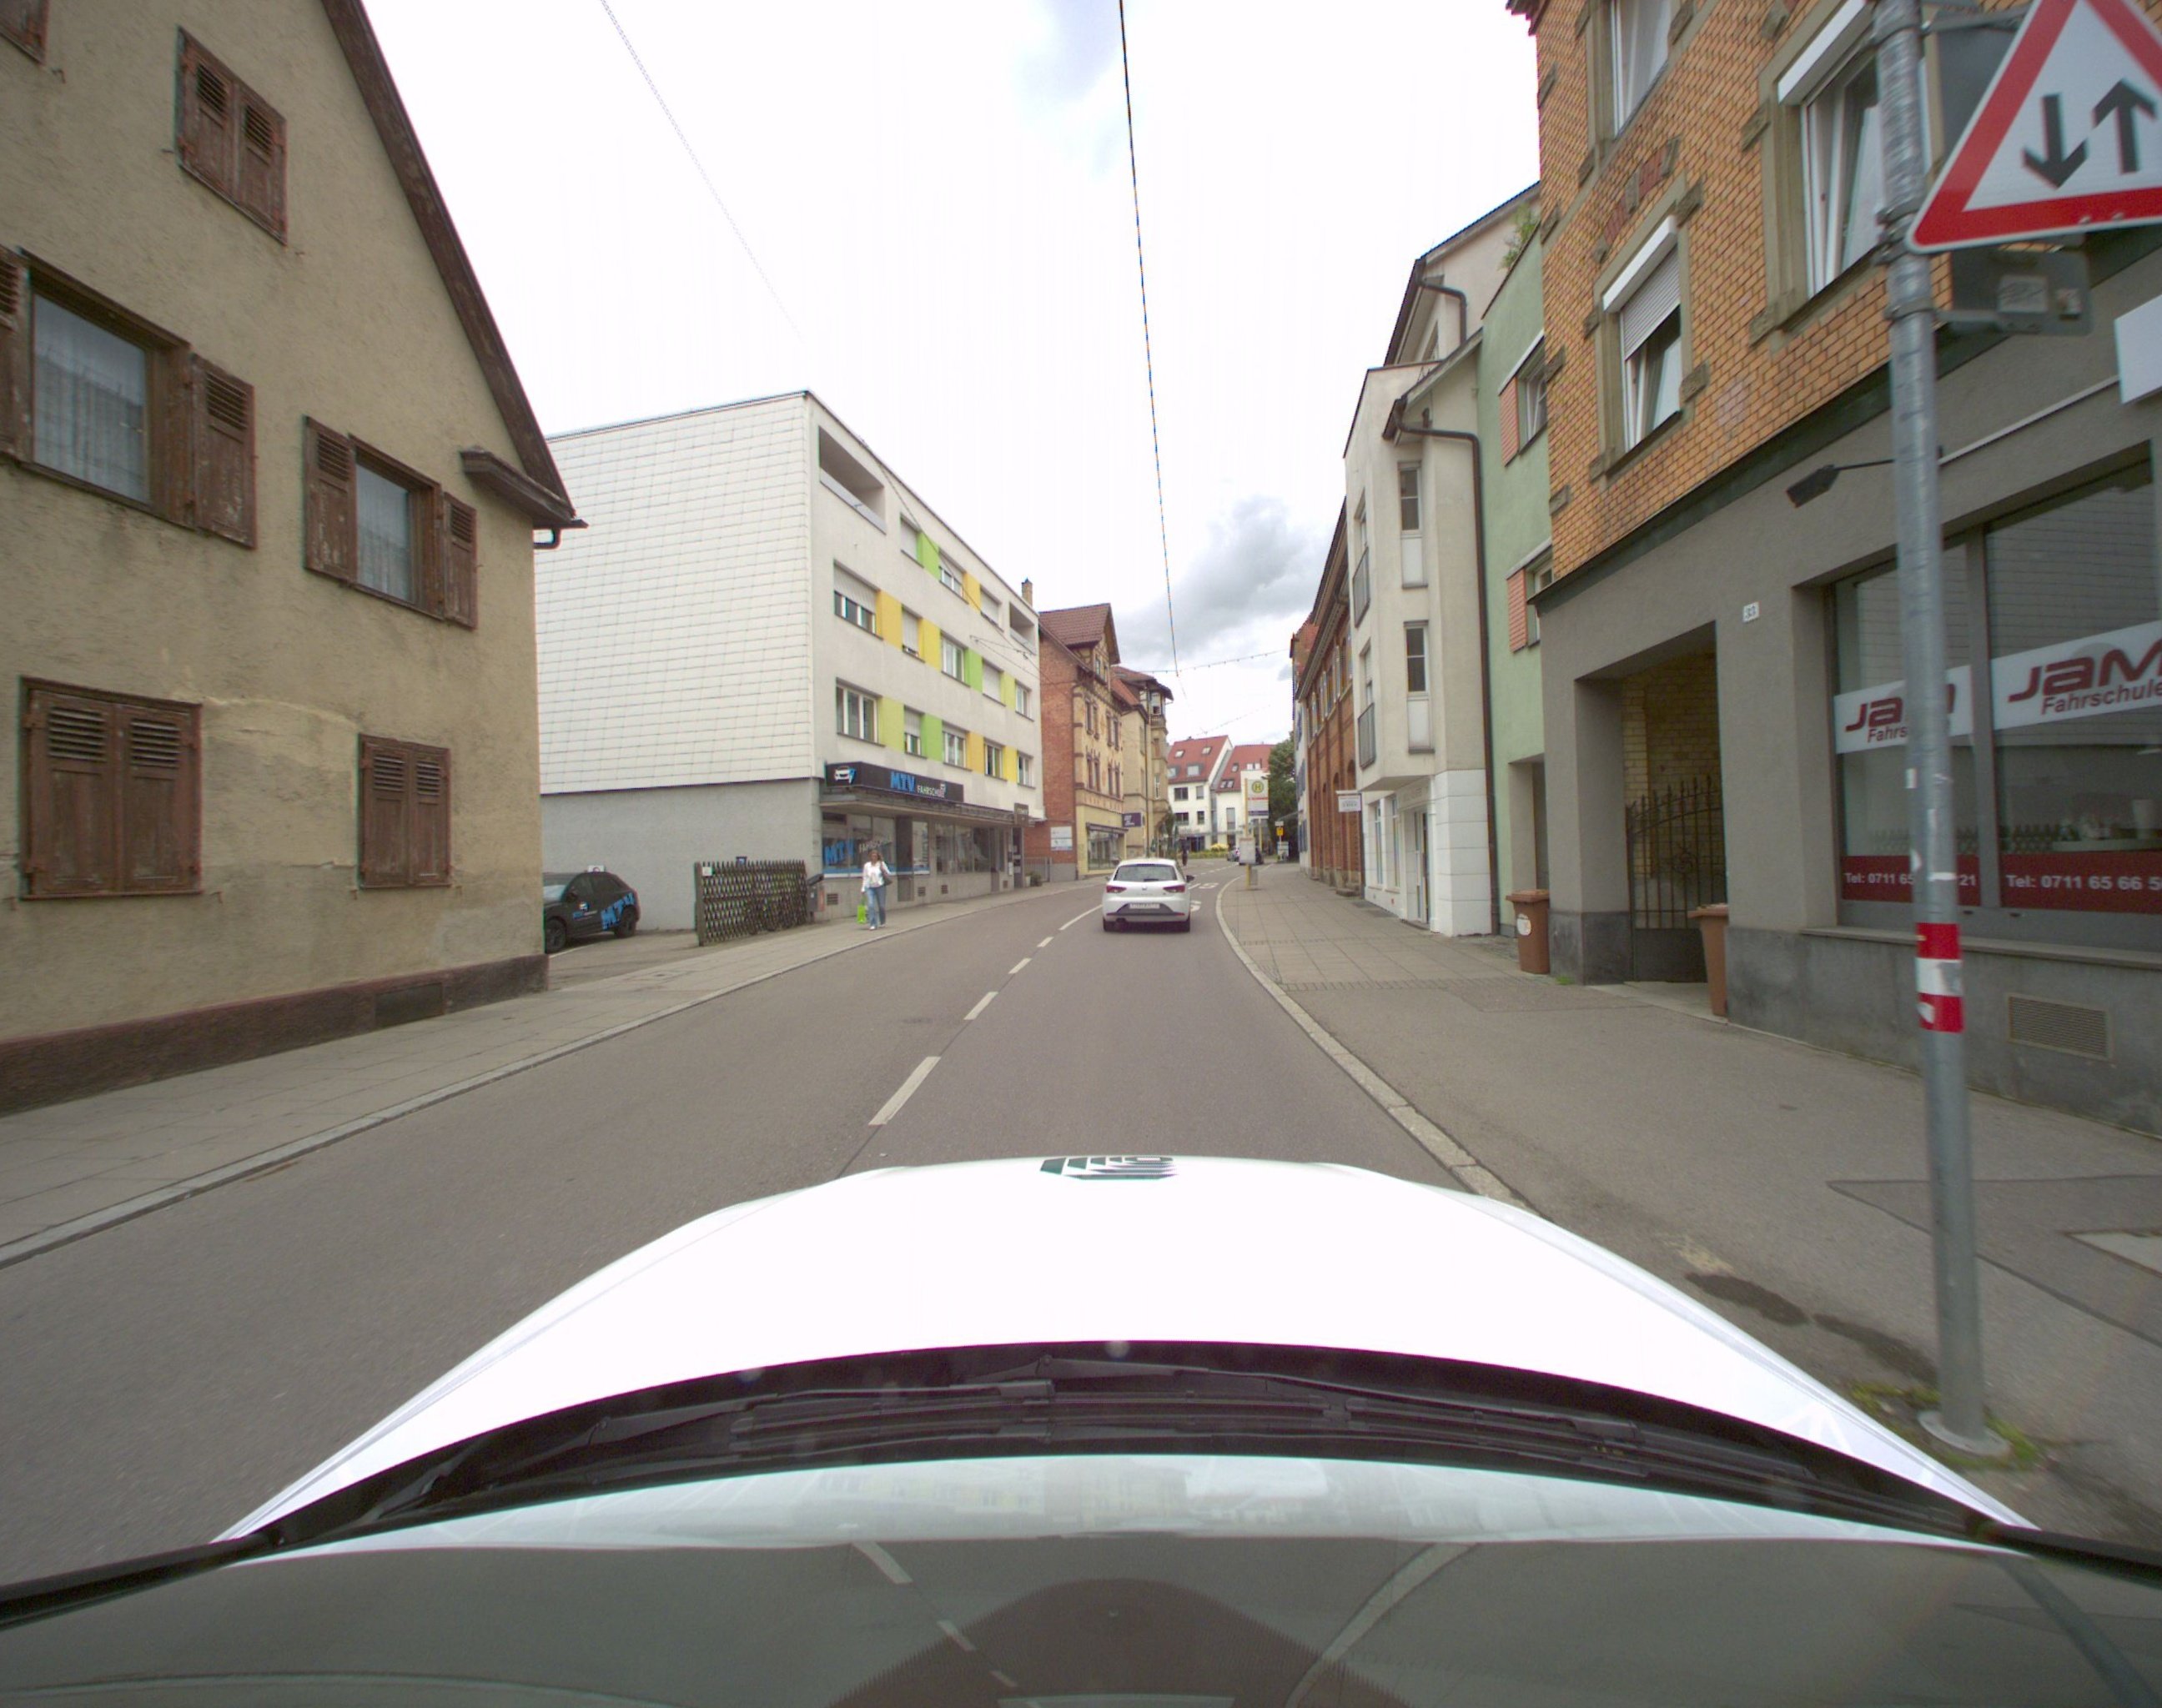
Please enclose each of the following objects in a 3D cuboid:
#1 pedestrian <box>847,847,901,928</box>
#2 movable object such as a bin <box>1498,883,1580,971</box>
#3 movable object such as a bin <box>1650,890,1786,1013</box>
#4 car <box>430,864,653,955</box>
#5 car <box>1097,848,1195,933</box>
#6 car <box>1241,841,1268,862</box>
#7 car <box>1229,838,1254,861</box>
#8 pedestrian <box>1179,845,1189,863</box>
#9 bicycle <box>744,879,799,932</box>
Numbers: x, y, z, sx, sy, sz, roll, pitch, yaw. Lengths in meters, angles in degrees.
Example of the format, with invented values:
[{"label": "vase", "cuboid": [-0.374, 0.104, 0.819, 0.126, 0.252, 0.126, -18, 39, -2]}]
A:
[{"label": "pedestrian", "cuboid": [-4.453, 0.698, 17.584, 0.890, 1.665, 0.861, -2, 0, -1]}, {"label": "movable object such as a bin", "cuboid": [5.166, 0.811, 9.213, 0.616, 0.921, 0.582, -2, 0, 6]}, {"label": "movable object such as a bin", "cuboid": [5.355, 0.799, 6.887, 0.577, 0.933, 0.740, -2, 0, 5]}, {"label": "car", "cuboid": [-11.314, 1.066, 17.526, 1.989, 1.563, 4.285, -2, 0, -2]}, {"label": "car", "cuboid": [1.476, 0.686, 17.357, 1.802, 1.480, 3.879, -2, 1, 7]}, {"label": "car", "cuboid": [13.660, -0.181, 64.033, 1.798, 1.480, 3.886, -2, 1, 15]}, {"label": "car", "cuboid": [15.114, -0.441, 76.793, 1.982, 2.013, 4.009, -2, 0, 8]}, {"label": "pedestrian", "cuboid": [9.077, 0.020, 71.590, 0.829, 1.552, 0.629, -2, 0, 8]}, {"label": "bicycle", "cuboid": [-6.871, 1.126, 18.169, 0.321, 1.053, 1.752, -2, 0, 7]}]
